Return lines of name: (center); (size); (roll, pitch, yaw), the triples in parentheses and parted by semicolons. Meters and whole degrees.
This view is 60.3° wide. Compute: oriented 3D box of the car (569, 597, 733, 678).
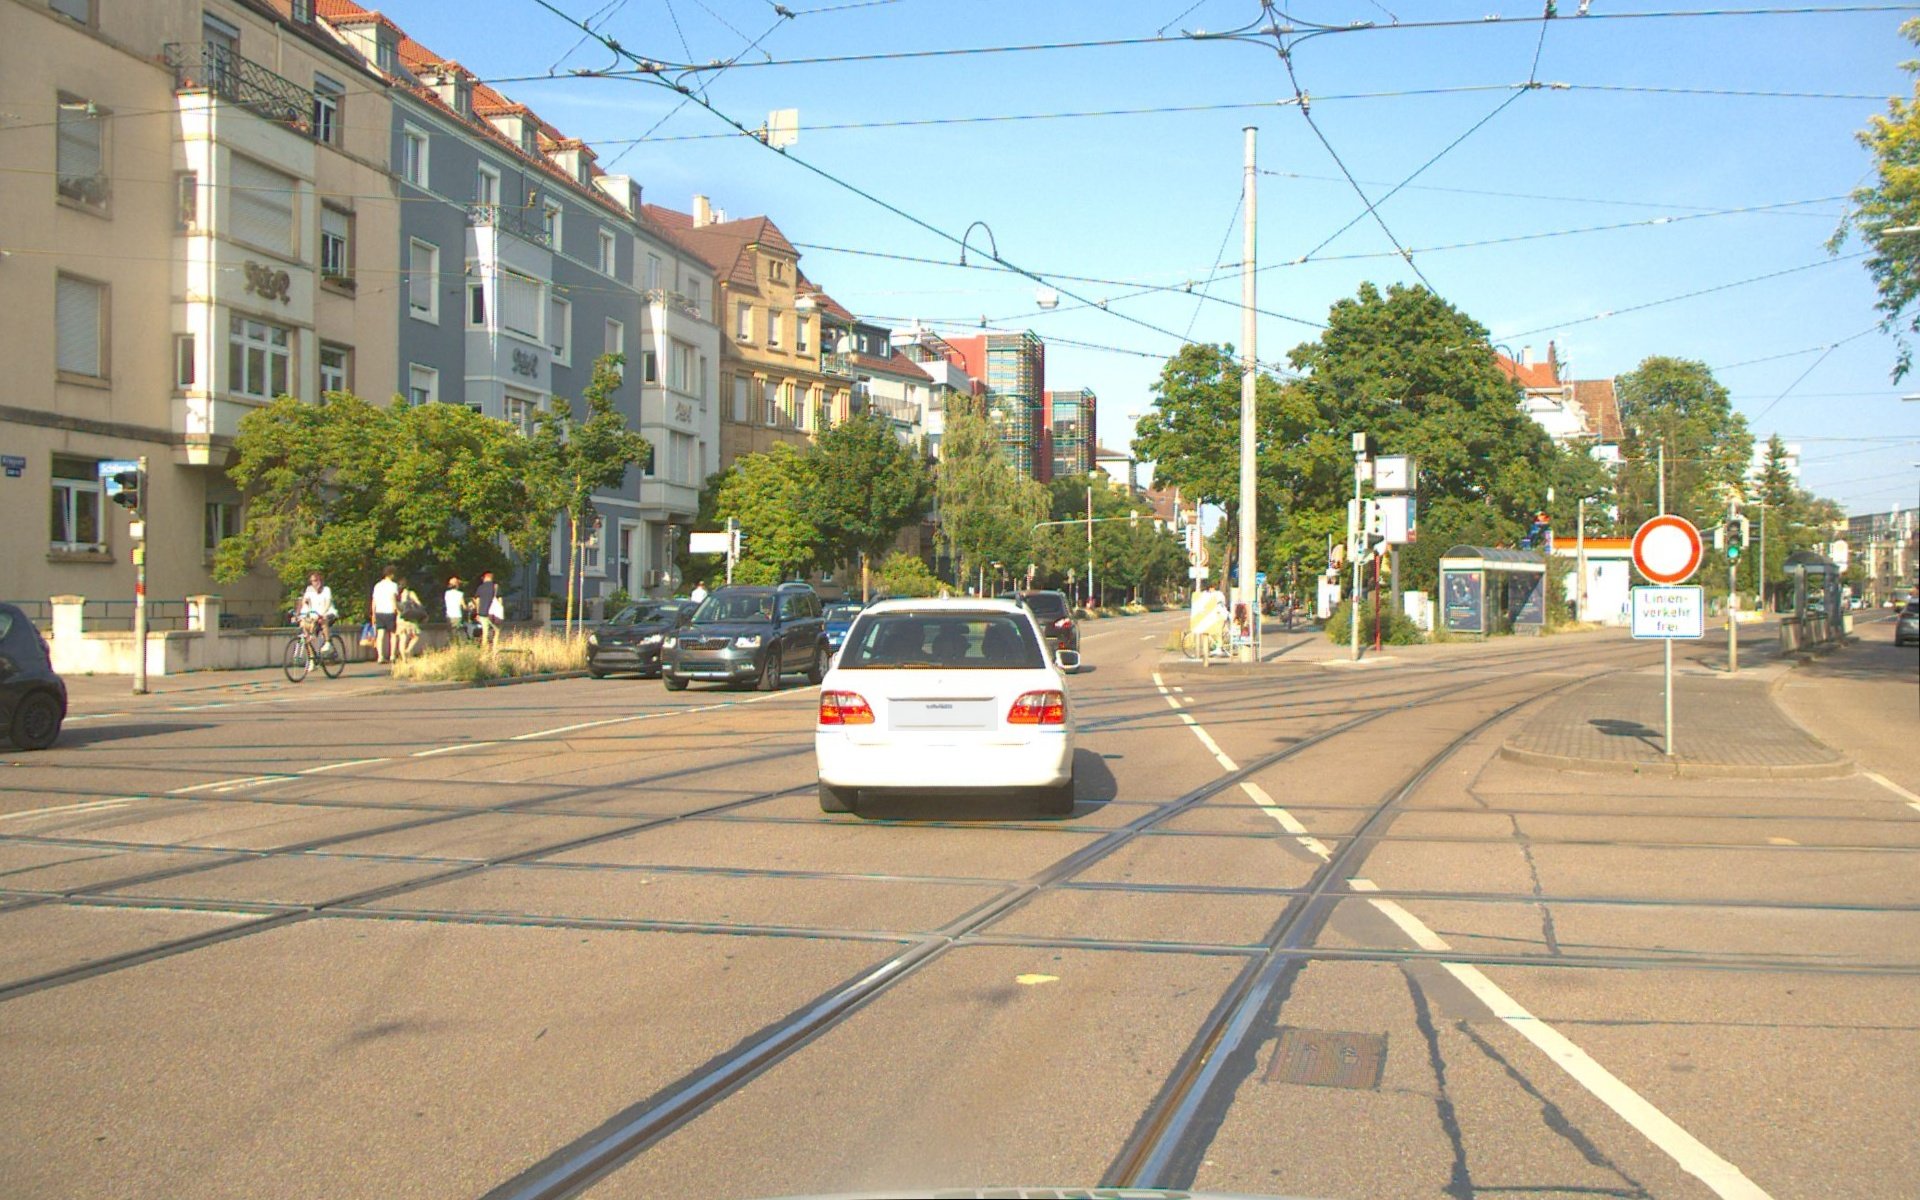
car: (-5.790, 0.674, 31.467); (1.652, 1.445, 4.003); (0, 0, 12)

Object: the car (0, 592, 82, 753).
car: (-9.748, 0.668, 14.451); (1.599, 1.458, 3.631); (0, 0, 16)

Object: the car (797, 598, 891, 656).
car: (-3.107, 0.702, 45.024); (1.653, 1.466, 4.004); (0, 1, 10)

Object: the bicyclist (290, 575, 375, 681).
bicyclist: (-10.362, 0.444, 27.348); (0.744, 1.697, 1.168); (0, 0, 18)

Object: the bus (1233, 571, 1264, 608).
bus: (19.350, -0.668, 111.152); (1.759, 2.374, 4.003); (3, 0, 7)

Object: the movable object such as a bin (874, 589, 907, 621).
movable object such as a bin: (-3.147, 0.227, 75.031); (1.502, 1.446, 1.084); (0, 0, -1)

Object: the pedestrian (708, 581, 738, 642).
pedestrian: (-7.003, 0.326, 48.915); (0.624, 1.781, 0.912); (0, 0, 9)

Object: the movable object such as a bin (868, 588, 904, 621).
movable object such as a bin: (-3.308, 0.204, 73.890); (1.570, 1.446, 1.084); (0, 0, -1)

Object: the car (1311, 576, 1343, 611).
car: (20.445, -0.365, 92.106); (1.708, 1.906, 4.003); (1, 0, 13)

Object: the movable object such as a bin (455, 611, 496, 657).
movable object such as a bin: (-10.401, 0.733, 35.507); (0.571, 0.963, 0.663); (0, 0, 16)

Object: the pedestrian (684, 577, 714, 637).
pedestrian: (-7.743, 0.199, 49.096); (0.624, 1.781, 0.912); (0, 0, 9)

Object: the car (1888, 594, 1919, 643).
car: (33.308, 0.671, 57.337); (1.802, 1.628, 3.805); (2, 0, 32)

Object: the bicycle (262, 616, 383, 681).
bicycle: (-10.435, 0.770, 27.150); (0.753, 0.982, 2.035); (0, 0, 18)

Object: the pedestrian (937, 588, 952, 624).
pedestrian: (-0.775, 0.289, 83.177); (0.624, 1.781, 0.608); (0, 0, 9)

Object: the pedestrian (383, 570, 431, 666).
pedestrian: (-10.976, 0.352, 32.863); (0.660, 1.880, 0.650); (0, 0, 13)

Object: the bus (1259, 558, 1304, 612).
bus: (15.540, -0.703, 80.093); (1.759, 2.455, 4.003); (3, 0, 7)

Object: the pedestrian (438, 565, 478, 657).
pedestrian: (-10.544, 0.222, 34.757); (0.572, 1.914, 0.627); (0, 0, 10)

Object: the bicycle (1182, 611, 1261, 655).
bicycle: (6.486, 0.813, 41.060); (1.873, 1.011, 0.727); (-2, 0, 6)

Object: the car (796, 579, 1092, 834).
car: (-0.009, 0.650, 12.219); (1.797, 1.527, 3.816); (2, 0, 3)

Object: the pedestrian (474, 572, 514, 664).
pedestrian: (-9.775, 0.362, 34.687); (0.572, 1.914, 0.627); (0, 0, 11)

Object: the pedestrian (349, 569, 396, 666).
pedestrian: (-11.676, 0.342, 32.886); (0.644, 1.914, 0.627); (0, 0, 10)

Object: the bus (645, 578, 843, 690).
bus: (-3.398, 0.488, 26.815); (1.805, 1.665, 4.162); (0, 0, 14)

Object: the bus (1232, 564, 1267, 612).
bus: (16.764, -0.667, 95.904); (1.759, 2.599, 4.003); (3, 0, 8)

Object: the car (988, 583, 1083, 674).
car: (1.540, 0.512, 32.473); (1.607, 1.628, 3.818); (2, 0, 6)

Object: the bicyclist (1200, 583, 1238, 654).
bicyclist: (6.421, 0.447, 41.066); (0.880, 1.728, 0.733); (-1, 0, 6)
